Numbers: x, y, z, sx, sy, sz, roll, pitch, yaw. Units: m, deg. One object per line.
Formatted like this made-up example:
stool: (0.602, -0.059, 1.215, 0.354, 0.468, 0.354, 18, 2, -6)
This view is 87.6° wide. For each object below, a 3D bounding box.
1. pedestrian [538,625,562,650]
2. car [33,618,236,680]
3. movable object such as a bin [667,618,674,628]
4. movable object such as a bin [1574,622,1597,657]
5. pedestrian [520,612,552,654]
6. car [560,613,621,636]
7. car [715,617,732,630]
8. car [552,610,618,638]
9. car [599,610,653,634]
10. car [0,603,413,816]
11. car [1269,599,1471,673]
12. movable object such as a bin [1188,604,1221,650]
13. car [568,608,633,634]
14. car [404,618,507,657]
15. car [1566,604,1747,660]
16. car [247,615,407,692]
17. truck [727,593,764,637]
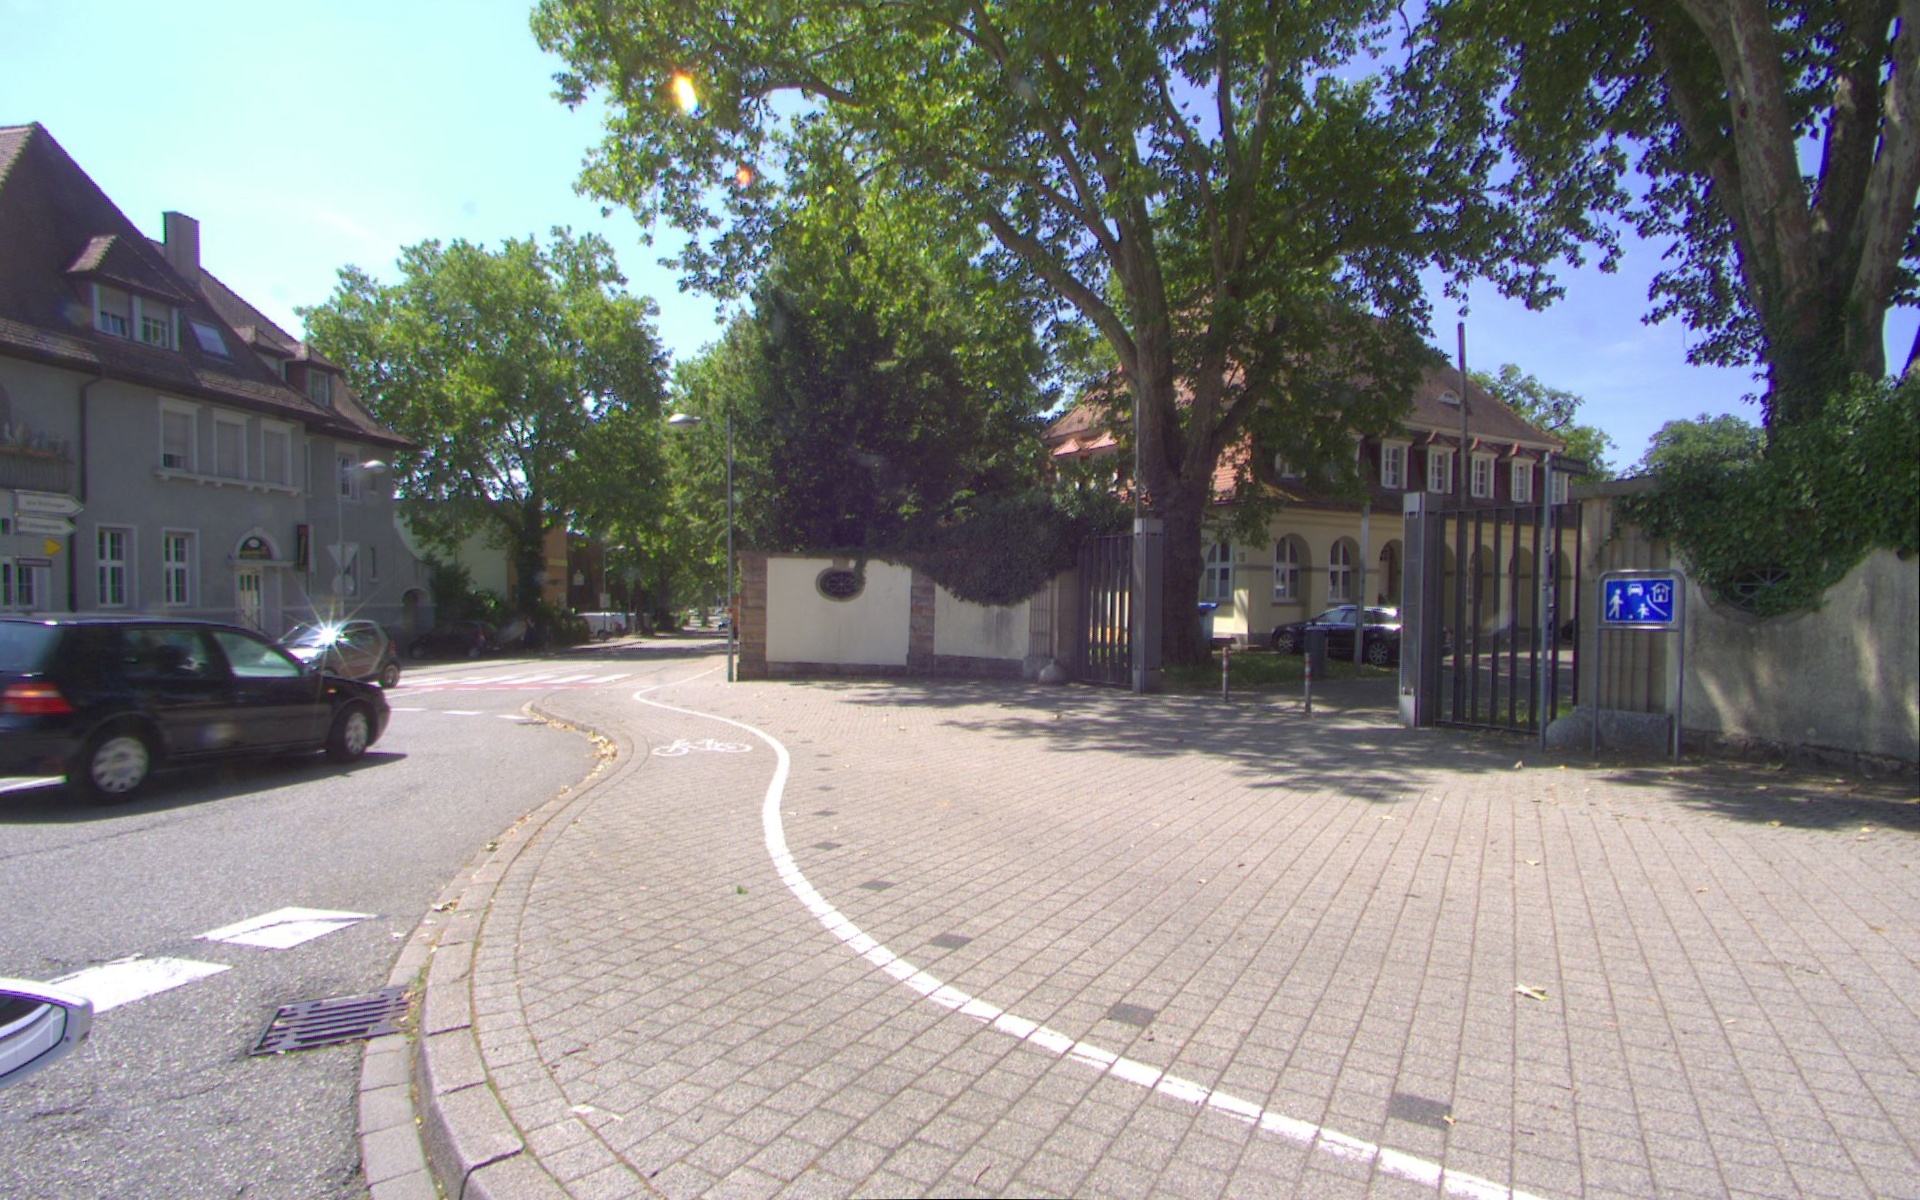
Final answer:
pedestrian: (-19.042, 1.733, 46.548, 0.741, 1.136, 0.897, 0, 0, -1)
car: (-20.658, 1.197, 25.155, 3.719, 1.479, 1.724, 0, -1, 2)
movable object such as a bin: (-29.677, 2.375, 102.690, 0.613, 1.062, 0.620, 0, 0, -1)
movable object such as a bin: (18.429, 1.161, 29.510, 0.530, 1.021, 0.525, 0, 0, 27)
pedestrian: (-18.238, 1.413, 43.122, 0.857, 1.765, 1.112, 0, 0, 3)
car: (-27.139, 1.825, 73.703, 3.926, 1.535, 1.867, 2, -1, -11)
car: (-28.553, 2.816, 120.883, 1.741, 1.445, 4.389, 0, -1, -11)
car: (-25.987, 1.661, 69.480, 3.926, 1.816, 1.867, 2, -1, -11)
car: (-28.164, 1.848, 84.571, 4.065, 1.827, 1.902, 2, -1, -11)
car: (-7.076, 0.801, 9.049, 1.683, 1.466, 4.058, 1, -1, 7)
car: (10.434, 0.839, 25.819, 1.972, 1.423, 4.472, 0, 4, -31)
movable object such as a bin: (7.029, 0.774, 28.815, 0.661, 1.314, 0.672, 0, 0, -41)
car: (-27.394, 1.632, 76.432, 4.355, 1.827, 1.902, 2, -1, -11)
car: (-20.556, 1.506, 40.877, 3.326, 1.567, 1.724, 0, -1, 2)
car: (23.135, 0.992, 33.438, 1.972, 1.423, 4.472, 0, 4, -31)
car: (-13.631, 1.108, 21.723, 1.539, 1.550, 2.789, 0, -1, 6)
truck: (-16.040, 1.204, 75.156, 2.333, 3.173, 5.769, 0, -2, -8)
